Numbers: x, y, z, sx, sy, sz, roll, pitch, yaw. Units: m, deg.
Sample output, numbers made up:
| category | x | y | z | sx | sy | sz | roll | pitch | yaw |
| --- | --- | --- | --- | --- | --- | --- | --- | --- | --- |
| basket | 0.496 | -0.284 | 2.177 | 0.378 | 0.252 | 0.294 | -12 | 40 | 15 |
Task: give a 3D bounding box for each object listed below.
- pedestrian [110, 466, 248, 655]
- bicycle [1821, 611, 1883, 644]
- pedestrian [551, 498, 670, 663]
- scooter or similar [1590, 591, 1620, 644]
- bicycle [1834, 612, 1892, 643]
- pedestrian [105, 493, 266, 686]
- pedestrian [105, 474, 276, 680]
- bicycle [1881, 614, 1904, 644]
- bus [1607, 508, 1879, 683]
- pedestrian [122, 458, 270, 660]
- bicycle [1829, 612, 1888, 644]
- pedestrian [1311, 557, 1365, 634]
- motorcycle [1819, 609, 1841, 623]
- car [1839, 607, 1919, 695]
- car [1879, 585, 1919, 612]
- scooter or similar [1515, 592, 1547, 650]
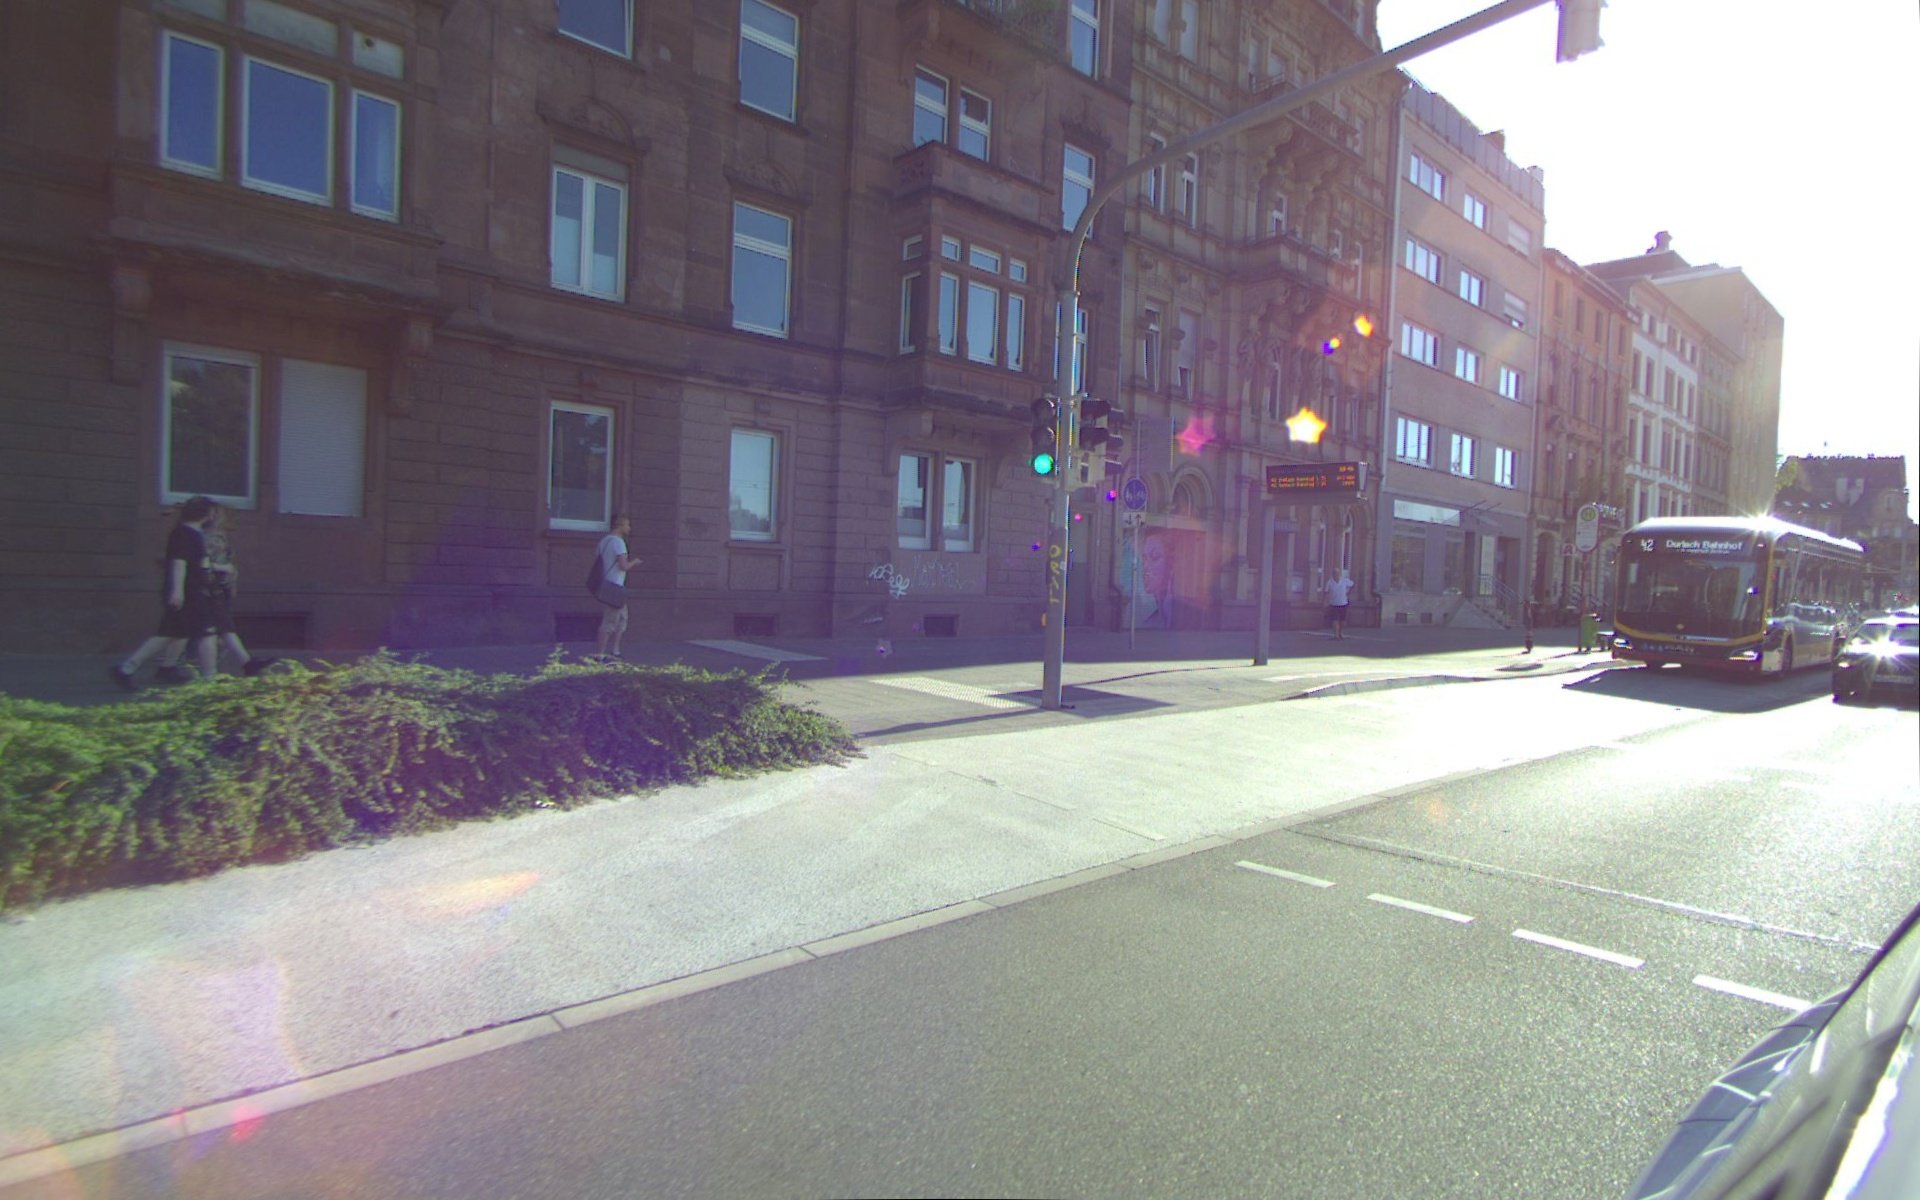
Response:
| category | x | y | z | sx | sy | sz | roll | pitch | yaw |
| --- | --- | --- | --- | --- | --- | --- | --- | --- | --- |
| pedestrian | -8.610 | -0.420 | 11.156 | 1.117 | 1.954 | 0.823 | 1 | 2 | -42 |
| bicycle | 35.835 | 1.089 | 40.675 | 0.462 | 1.202 | 1.768 | 3 | 0 | -41 |
| pedestrian | -4.369 | -0.250 | 12.659 | 1.117 | 1.954 | 0.823 | 1 | 2 | -42 |
| scooter or similar | 16.086 | 0.416 | 25.225 | 0.431 | 1.264 | 1.277 | 5 | 4 | 38 |
| bicycle | 38.714 | 1.177 | 43.395 | 0.462 | 1.193 | 1.768 | 3 | 0 | -41 |
| pedestrian | -7.225 | -0.102 | 9.452 | 1.117 | 1.676 | 0.704 | 1 | 2 | -42 |
| pedestrian | -6.739 | -0.197 | 8.872 | 1.117 | 1.676 | 0.704 | 1 | 2 | -42 |
| bicycle | 37.878 | 1.185 | 41.103 | 1.740 | 1.161 | 0.469 | 2 | 0 | -42 |
| bus | 18.757 | -0.093 | 23.719 | 12.324 | 3.220 | 2.721 | 1 | 3 | -42 |
| pedestrian | -7.882 | -0.408 | 10.448 | 1.117 | 1.954 | 0.823 | 1 | 2 | -42 |
| bicycle | 37.623 | 1.159 | 42.395 | 0.462 | 1.202 | 1.768 | 3 | 0 | -41 |
| pedestrian | 9.449 | -0.122 | 25.294 | 0.763 | 1.856 | 0.856 | 5 | 0 | -15 |
| motorcycle | 74.526 | 1.337 | 86.733 | 1.034 | 1.087 | 2.255 | 5 | 2 | 33 |
| car | 16.948 | 0.844 | 17.740 | 3.762 | 1.405 | 1.694 | 0 | 1 | -39 |
| car | 58.226 | -0.064 | 60.745 | 4.176 | 1.590 | 1.958 | 2 | 0 | 5 |
| scooter or similar | 13.186 | 0.466 | 23.354 | 0.430 | 1.264 | 1.278 | 5 | 4 | 36 |
